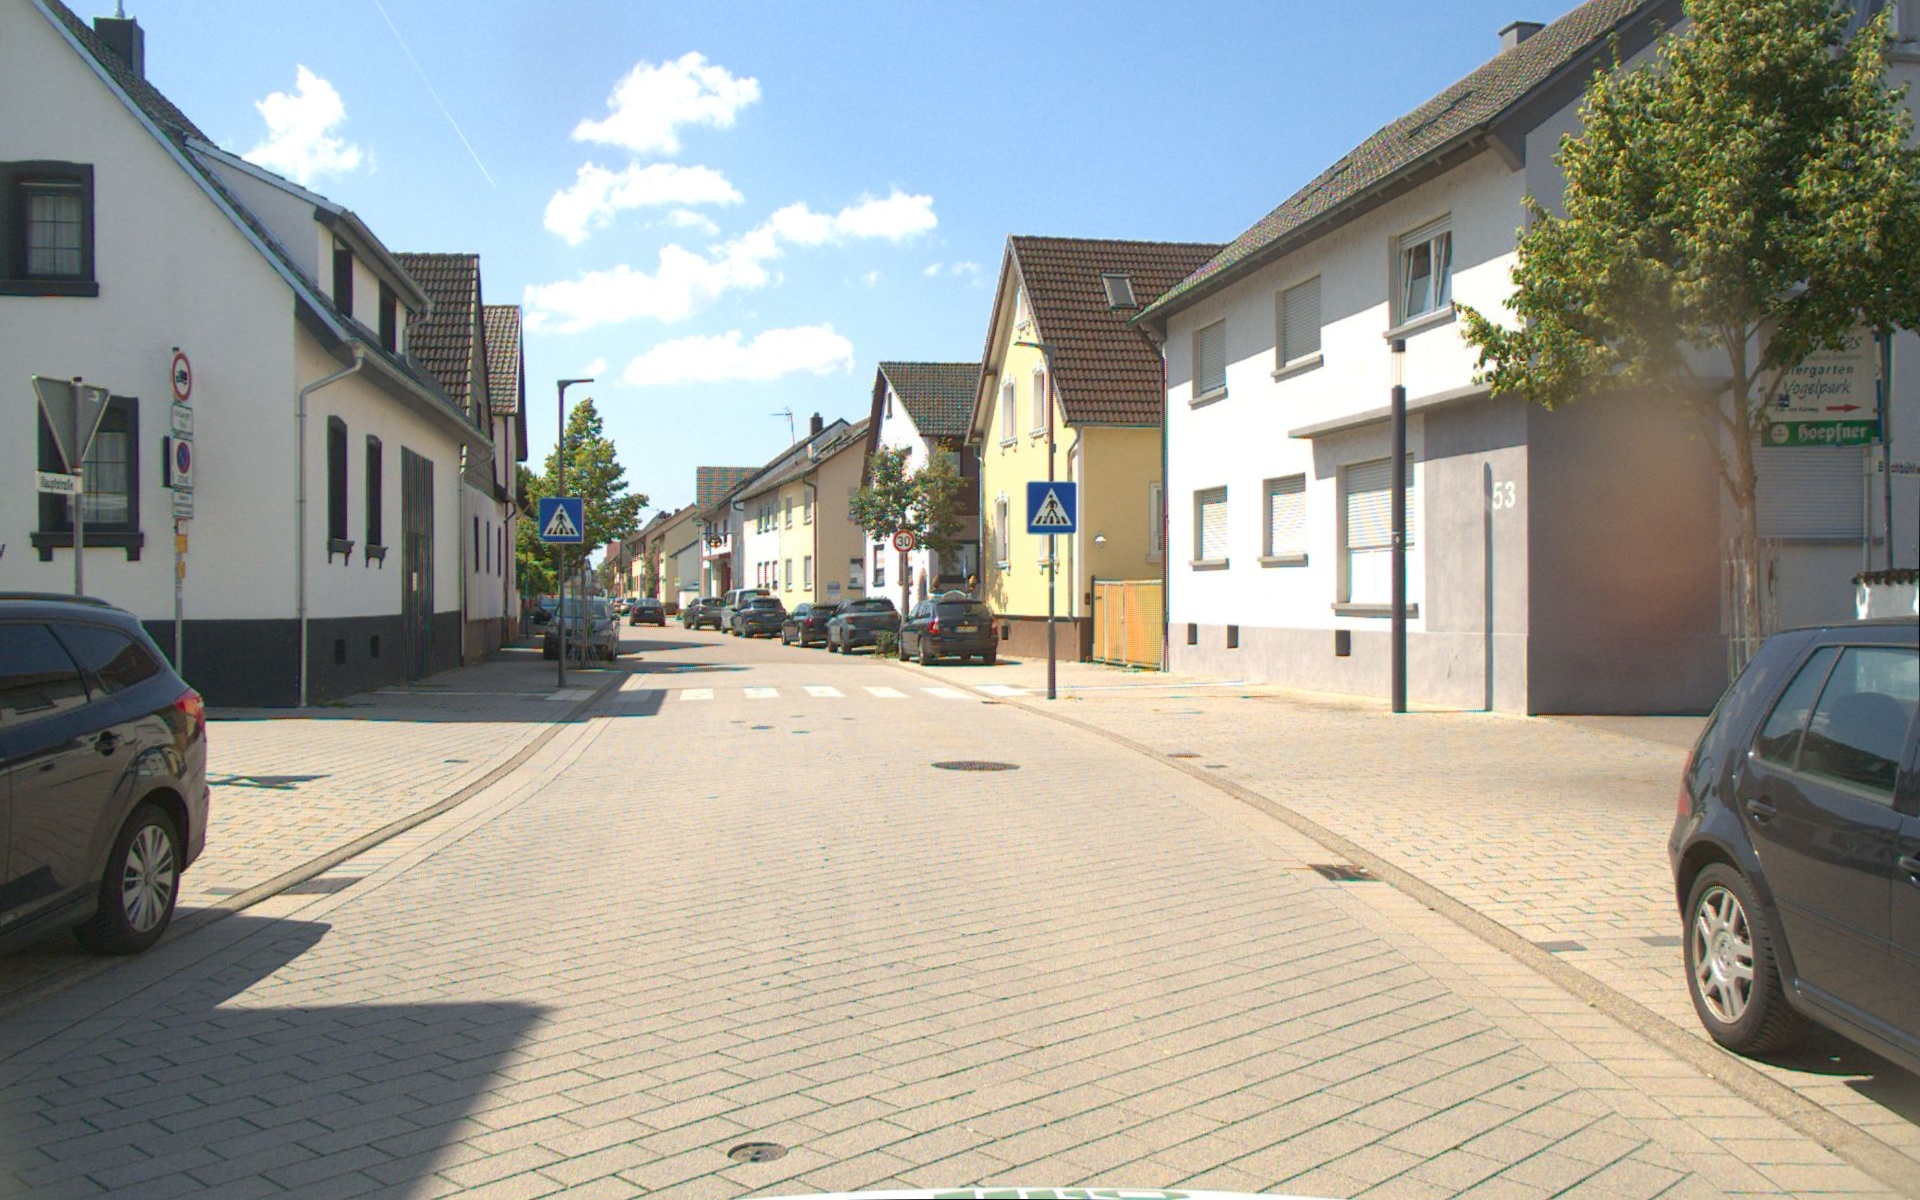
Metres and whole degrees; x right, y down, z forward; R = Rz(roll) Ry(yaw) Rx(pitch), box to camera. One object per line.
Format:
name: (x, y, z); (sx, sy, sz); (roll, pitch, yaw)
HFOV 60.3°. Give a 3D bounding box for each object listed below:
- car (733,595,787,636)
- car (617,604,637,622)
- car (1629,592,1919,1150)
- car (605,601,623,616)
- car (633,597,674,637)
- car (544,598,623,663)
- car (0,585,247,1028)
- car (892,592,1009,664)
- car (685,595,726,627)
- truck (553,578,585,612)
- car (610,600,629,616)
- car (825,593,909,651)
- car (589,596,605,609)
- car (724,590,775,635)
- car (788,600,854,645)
car: (-8.296, 0.616, 68.360); (1.845, 1.619, 3.987); (0, 0, -13)
car: (-29.513, 1.137, 146.473); (1.658, 1.478, 3.780); (0, 0, -13)
car: (3.404, 0.712, 4.148); (1.723, 1.463, 4.119); (-1, 0, -1)
car: (-35.346, 0.829, 168.913); (1.659, 1.478, 3.779); (0, 0, -13)
car: (-16.651, 0.877, 89.715); (1.959, 2.094, 4.359); (0, 0, -13)
car: (-9.543, 0.739, 42.139); (1.715, 1.557, 3.990); (1, 0, -10)
car: (-4.198, 0.703, 5.546); (1.776, 1.516, 4.276); (1, 0, -1)
car: (-0.280, 0.629, 38.259); (1.797, 1.497, 4.262); (-2, 0, -13)
car: (-12.704, 0.535, 82.484); (1.724, 1.519, 3.987); (0, 0, -13)
truck: (-48.104, -0.635, 203.293); (3.506, 4.023, 8.545); (0, 0, -15)
car: (-32.871, 0.785, 159.663); (1.658, 1.478, 3.780); (0, 0, -13)
car: (-2.717, 0.607, 47.475); (1.814, 1.590, 3.681); (0, 0, -13)
car: (-42.085, 0.278, 191.888); (1.660, 1.478, 3.777); (0, 0, -15)
car: (-9.429, 0.536, 73.785); (1.874, 1.904, 3.987); (0, 0, -13)
car: (-4.651, 0.728, 55.035); (1.681, 1.411, 3.693); (0, 0, -13)
